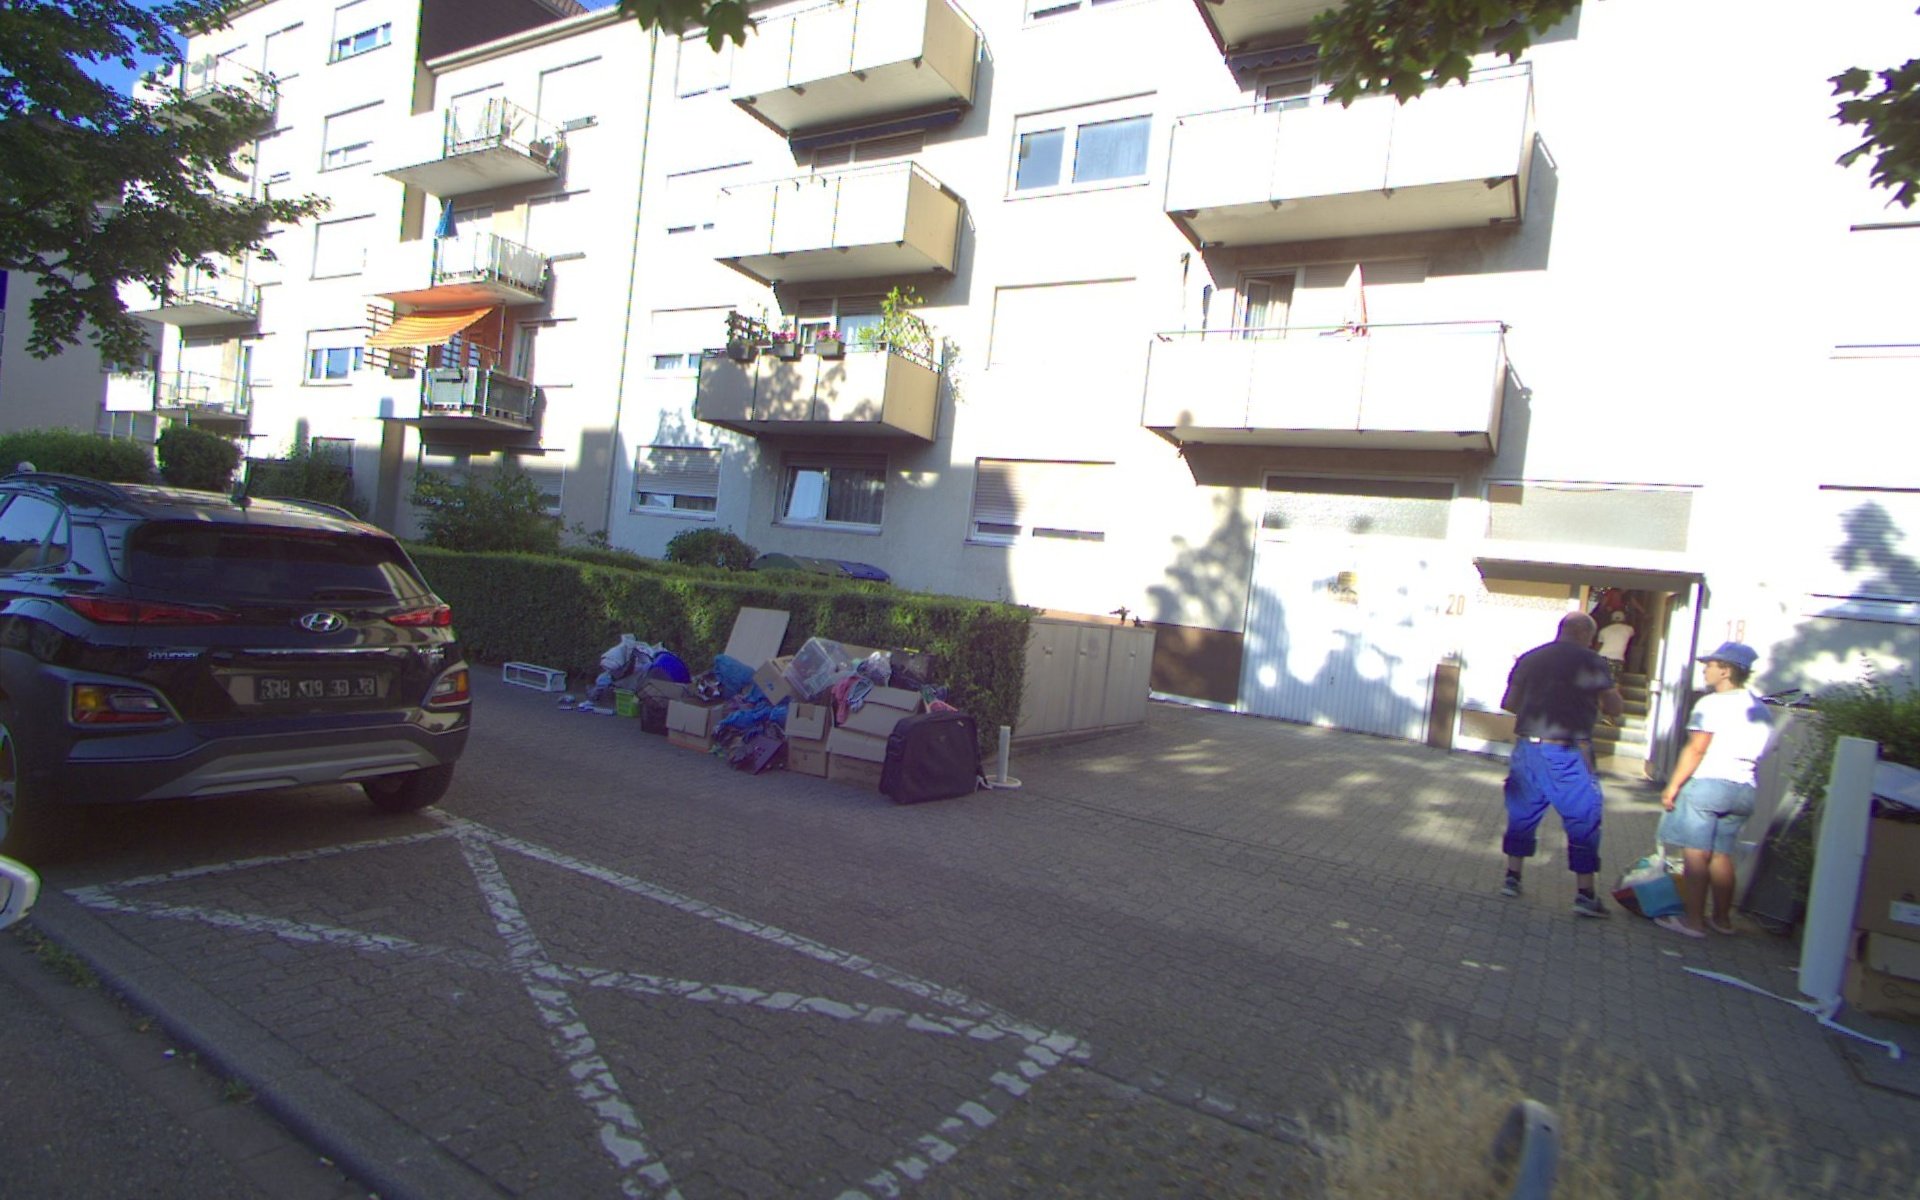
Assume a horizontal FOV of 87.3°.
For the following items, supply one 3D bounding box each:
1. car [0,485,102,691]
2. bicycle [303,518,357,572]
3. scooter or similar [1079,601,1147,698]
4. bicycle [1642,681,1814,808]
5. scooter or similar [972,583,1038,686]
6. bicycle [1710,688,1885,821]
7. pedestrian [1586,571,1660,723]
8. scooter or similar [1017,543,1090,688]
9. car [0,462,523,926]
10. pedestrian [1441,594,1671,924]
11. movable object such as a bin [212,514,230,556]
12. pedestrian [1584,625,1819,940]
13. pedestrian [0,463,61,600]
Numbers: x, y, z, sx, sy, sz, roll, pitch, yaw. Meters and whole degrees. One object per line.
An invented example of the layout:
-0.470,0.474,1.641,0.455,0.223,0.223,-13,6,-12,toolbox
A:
-8.639,-0.271,8.022,3.949,1.469,1.703,7,2,34,car
-15.786,-1.379,25.197,1.767,1.198,0.356,6,1,33,bicycle
2.198,0.706,14.417,0.657,1.289,0.615,7,1,31,scooter or similar
7.939,1.499,10.365,2.180,1.154,0.514,6,1,-30,bicycle
0.686,0.523,15.281,0.657,1.460,0.615,7,2,31,scooter or similar
8.291,1.531,9.926,2.180,1.154,0.514,6,1,-30,bicycle
9.909,0.701,15.060,0.688,2.154,0.696,7,1,32,pedestrian
1.377,0.230,14.756,0.657,2.039,0.615,7,2,31,scooter or similar
-4.404,0.179,5.291,3.946,1.603,1.856,6,2,31,car
3.335,0.845,5.651,0.689,1.661,0.750,5,2,-36,pedestrian
-20.535,-1.810,27.951,0.311,1.142,0.199,7,1,30,movable object such as a bin
4.030,0.959,5.503,0.585,1.560,0.692,5,1,-22,pedestrian
-12.680,-0.922,13.554,0.761,1.772,0.661,7,3,38,pedestrian
